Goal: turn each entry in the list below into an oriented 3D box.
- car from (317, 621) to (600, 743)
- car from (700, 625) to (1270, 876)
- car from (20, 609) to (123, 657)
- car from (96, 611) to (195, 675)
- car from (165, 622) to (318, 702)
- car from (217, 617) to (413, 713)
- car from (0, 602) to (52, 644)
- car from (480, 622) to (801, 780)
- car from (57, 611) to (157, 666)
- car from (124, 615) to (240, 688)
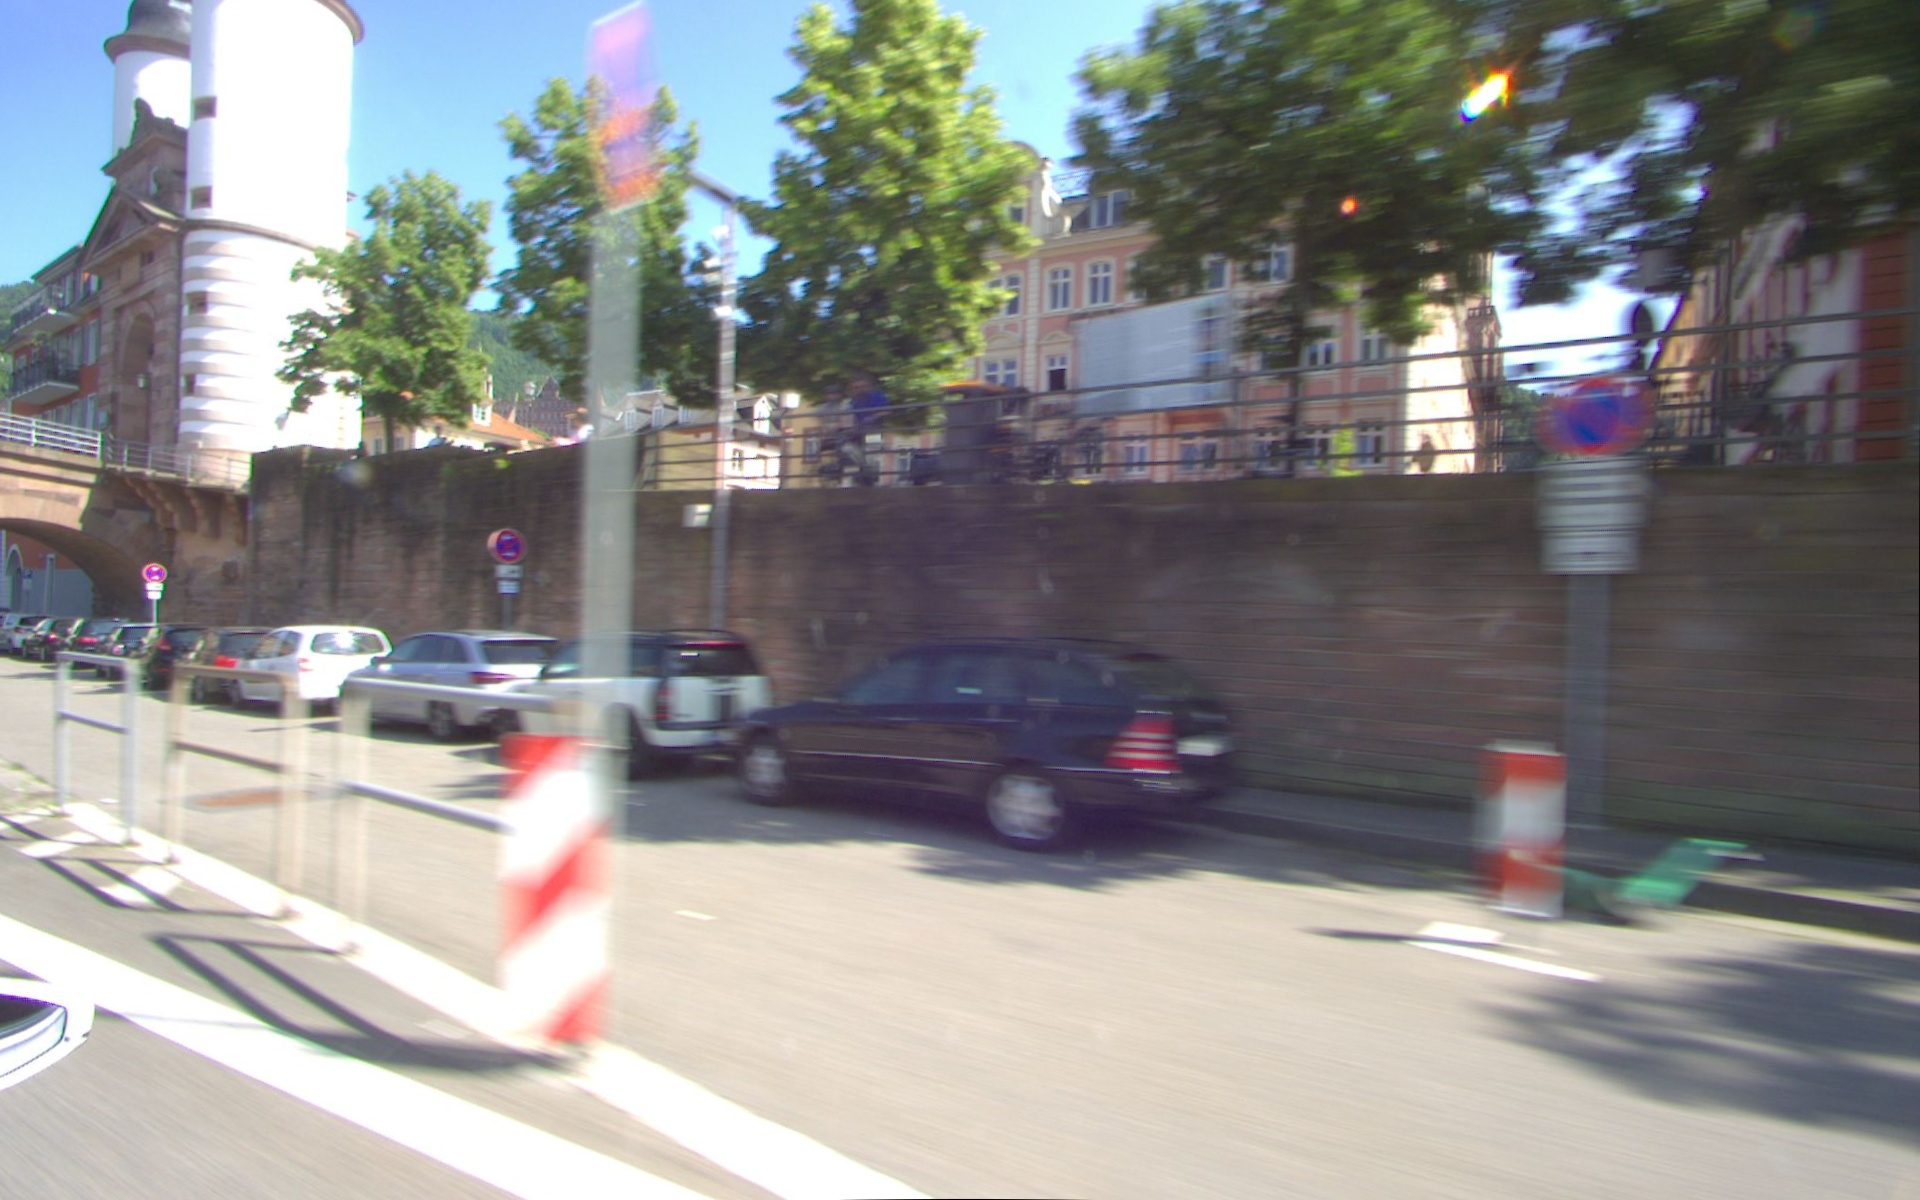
[{"bbox_3d":[-7.322,1.075,14.415,4.695,1.451,1.748,0,-2,37],"label":"car"},{"bbox_3d":[0.021,0.988,8.216,4.478,1.468,1.836,0,-2,38],"label":"car"},{"bbox_3d":[-30.100,1.095,33.889,4.434,1.455,1.770,1,-1,37],"label":"car"},{"bbox_3d":[-21.442,1.095,26.316,3.862,1.540,1.582,0,-2,45],"label":"car"},{"bbox_3d":[-14.420,1.154,20.007,4.360,1.406,1.701,0,-1,43],"label":"car"},{"bbox_3d":[-11.278,1.079,17.454,3.500,1.476,1.706,0,-2,36],"label":"car"},{"bbox_3d":[-37.761,0.884,39.704,4.359,1.512,1.887,1,-1,38],"label":"car"},{"bbox_3d":[-3.668,1.001,11.179,3.857,1.431,1.605,0,-2,40],"label":"car"},{"bbox_3d":[-26.112,1.143,30.605,3.940,1.522,1.767,1,-1,41],"label":"car"},{"bbox_3d":[-17.986,1.148,23.092,3.674,1.503,1.488,0,-2,42],"label":"car"}]
